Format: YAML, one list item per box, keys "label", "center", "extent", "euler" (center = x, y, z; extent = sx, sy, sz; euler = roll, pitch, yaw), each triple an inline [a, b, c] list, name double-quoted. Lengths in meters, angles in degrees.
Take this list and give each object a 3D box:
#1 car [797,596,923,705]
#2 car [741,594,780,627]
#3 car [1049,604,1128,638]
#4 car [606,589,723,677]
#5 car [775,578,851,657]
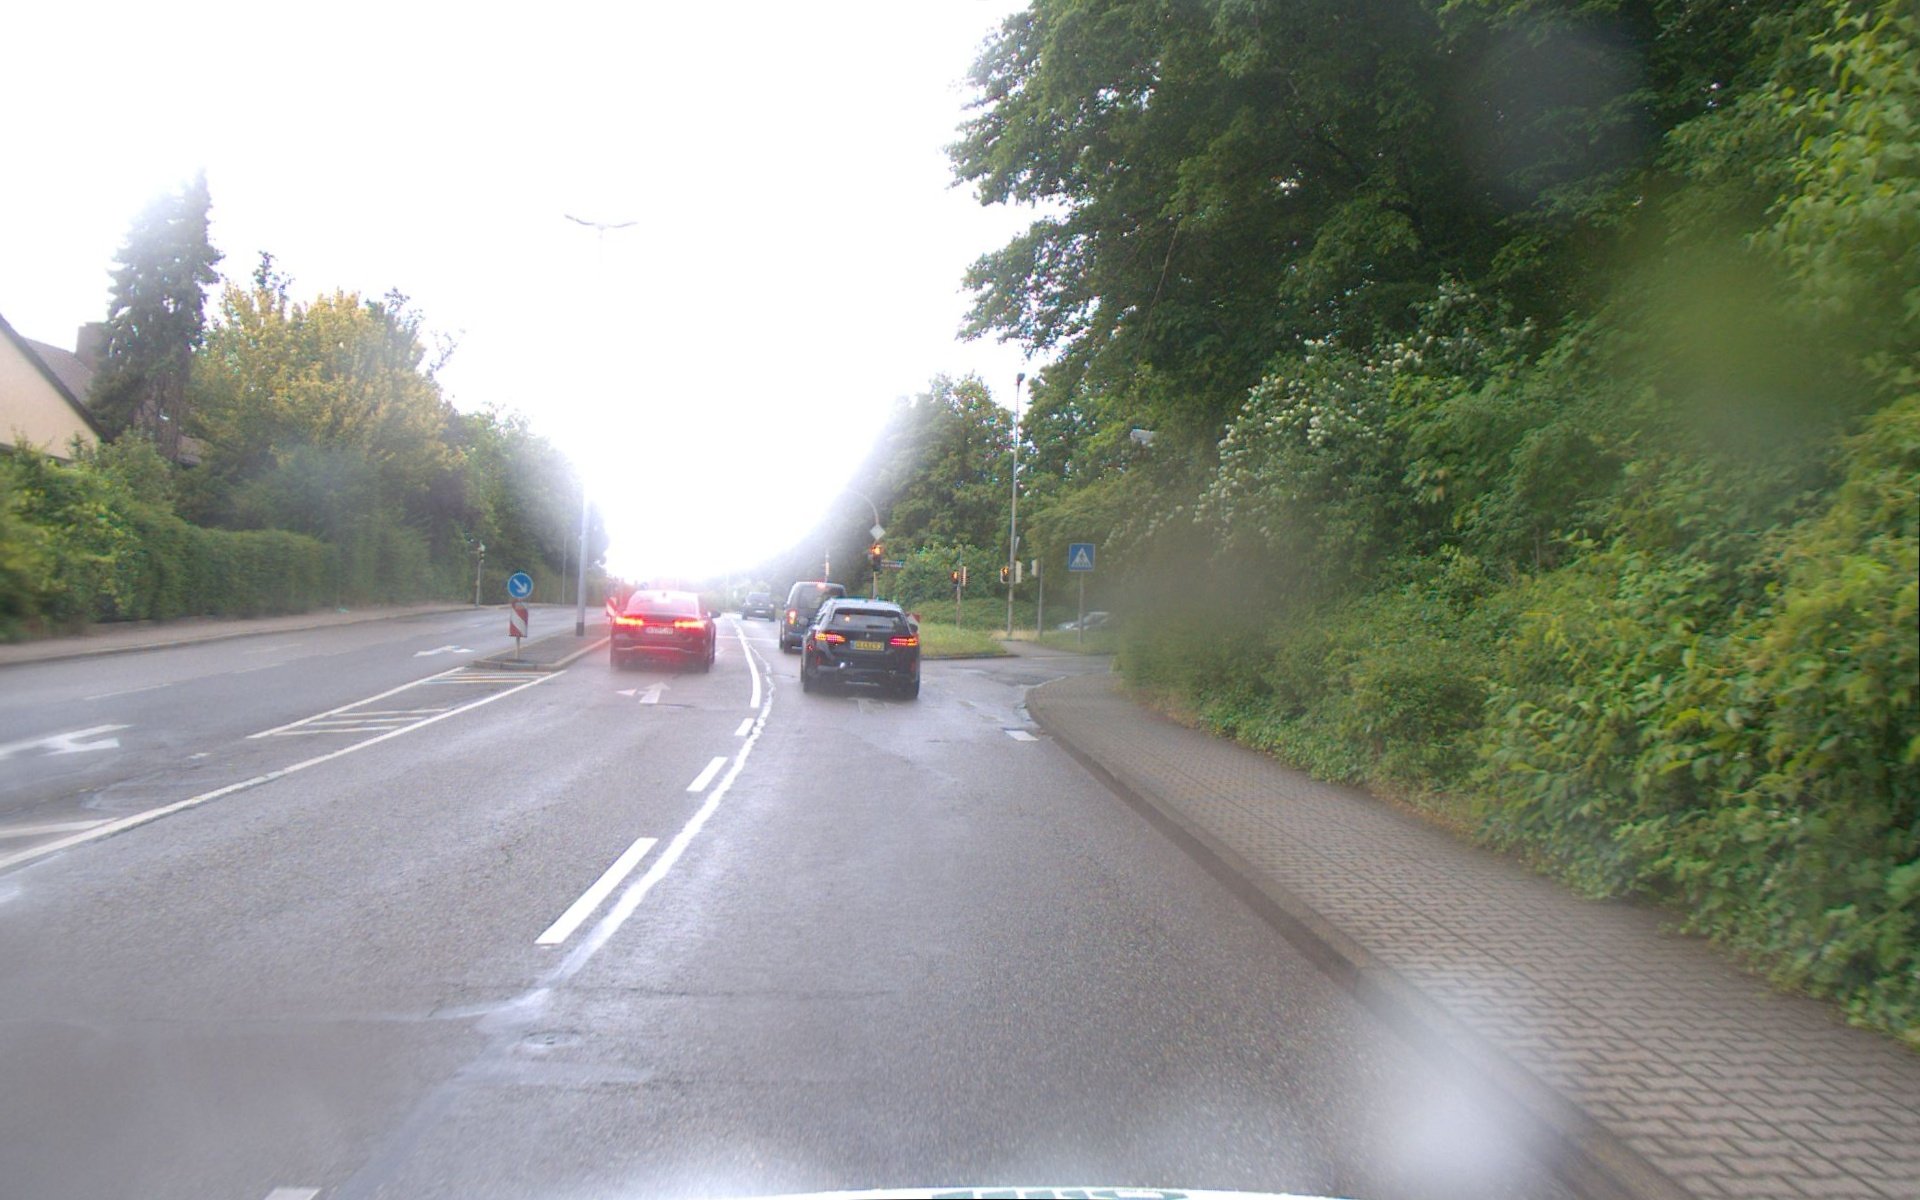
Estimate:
- label: "car"
  center: [-1.711, 0.819, 27.991]
  extent: [1.861, 1.578, 4.610]
  euler: [3, -1, -4]
- label: "car"
  center: [-10.533, 0.548, 87.233]
  extent: [1.956, 1.652, 3.945]
  euler: [1, 0, -8]
- label: "car"
  center: [5.861, 0.945, 75.698]
  extent: [3.432, 1.451, 1.702]
  euler: [0, 2, -3]
- label: "car"
  center: [-5.545, 0.591, 31.494]
  extent: [1.956, 1.554, 4.321]
  euler: [1, 0, -7]
- label: "car"
  center: [-3.941, 0.458, 43.812]
  extent: [1.783, 1.901, 3.946]
  euler: [3, -1, -7]
